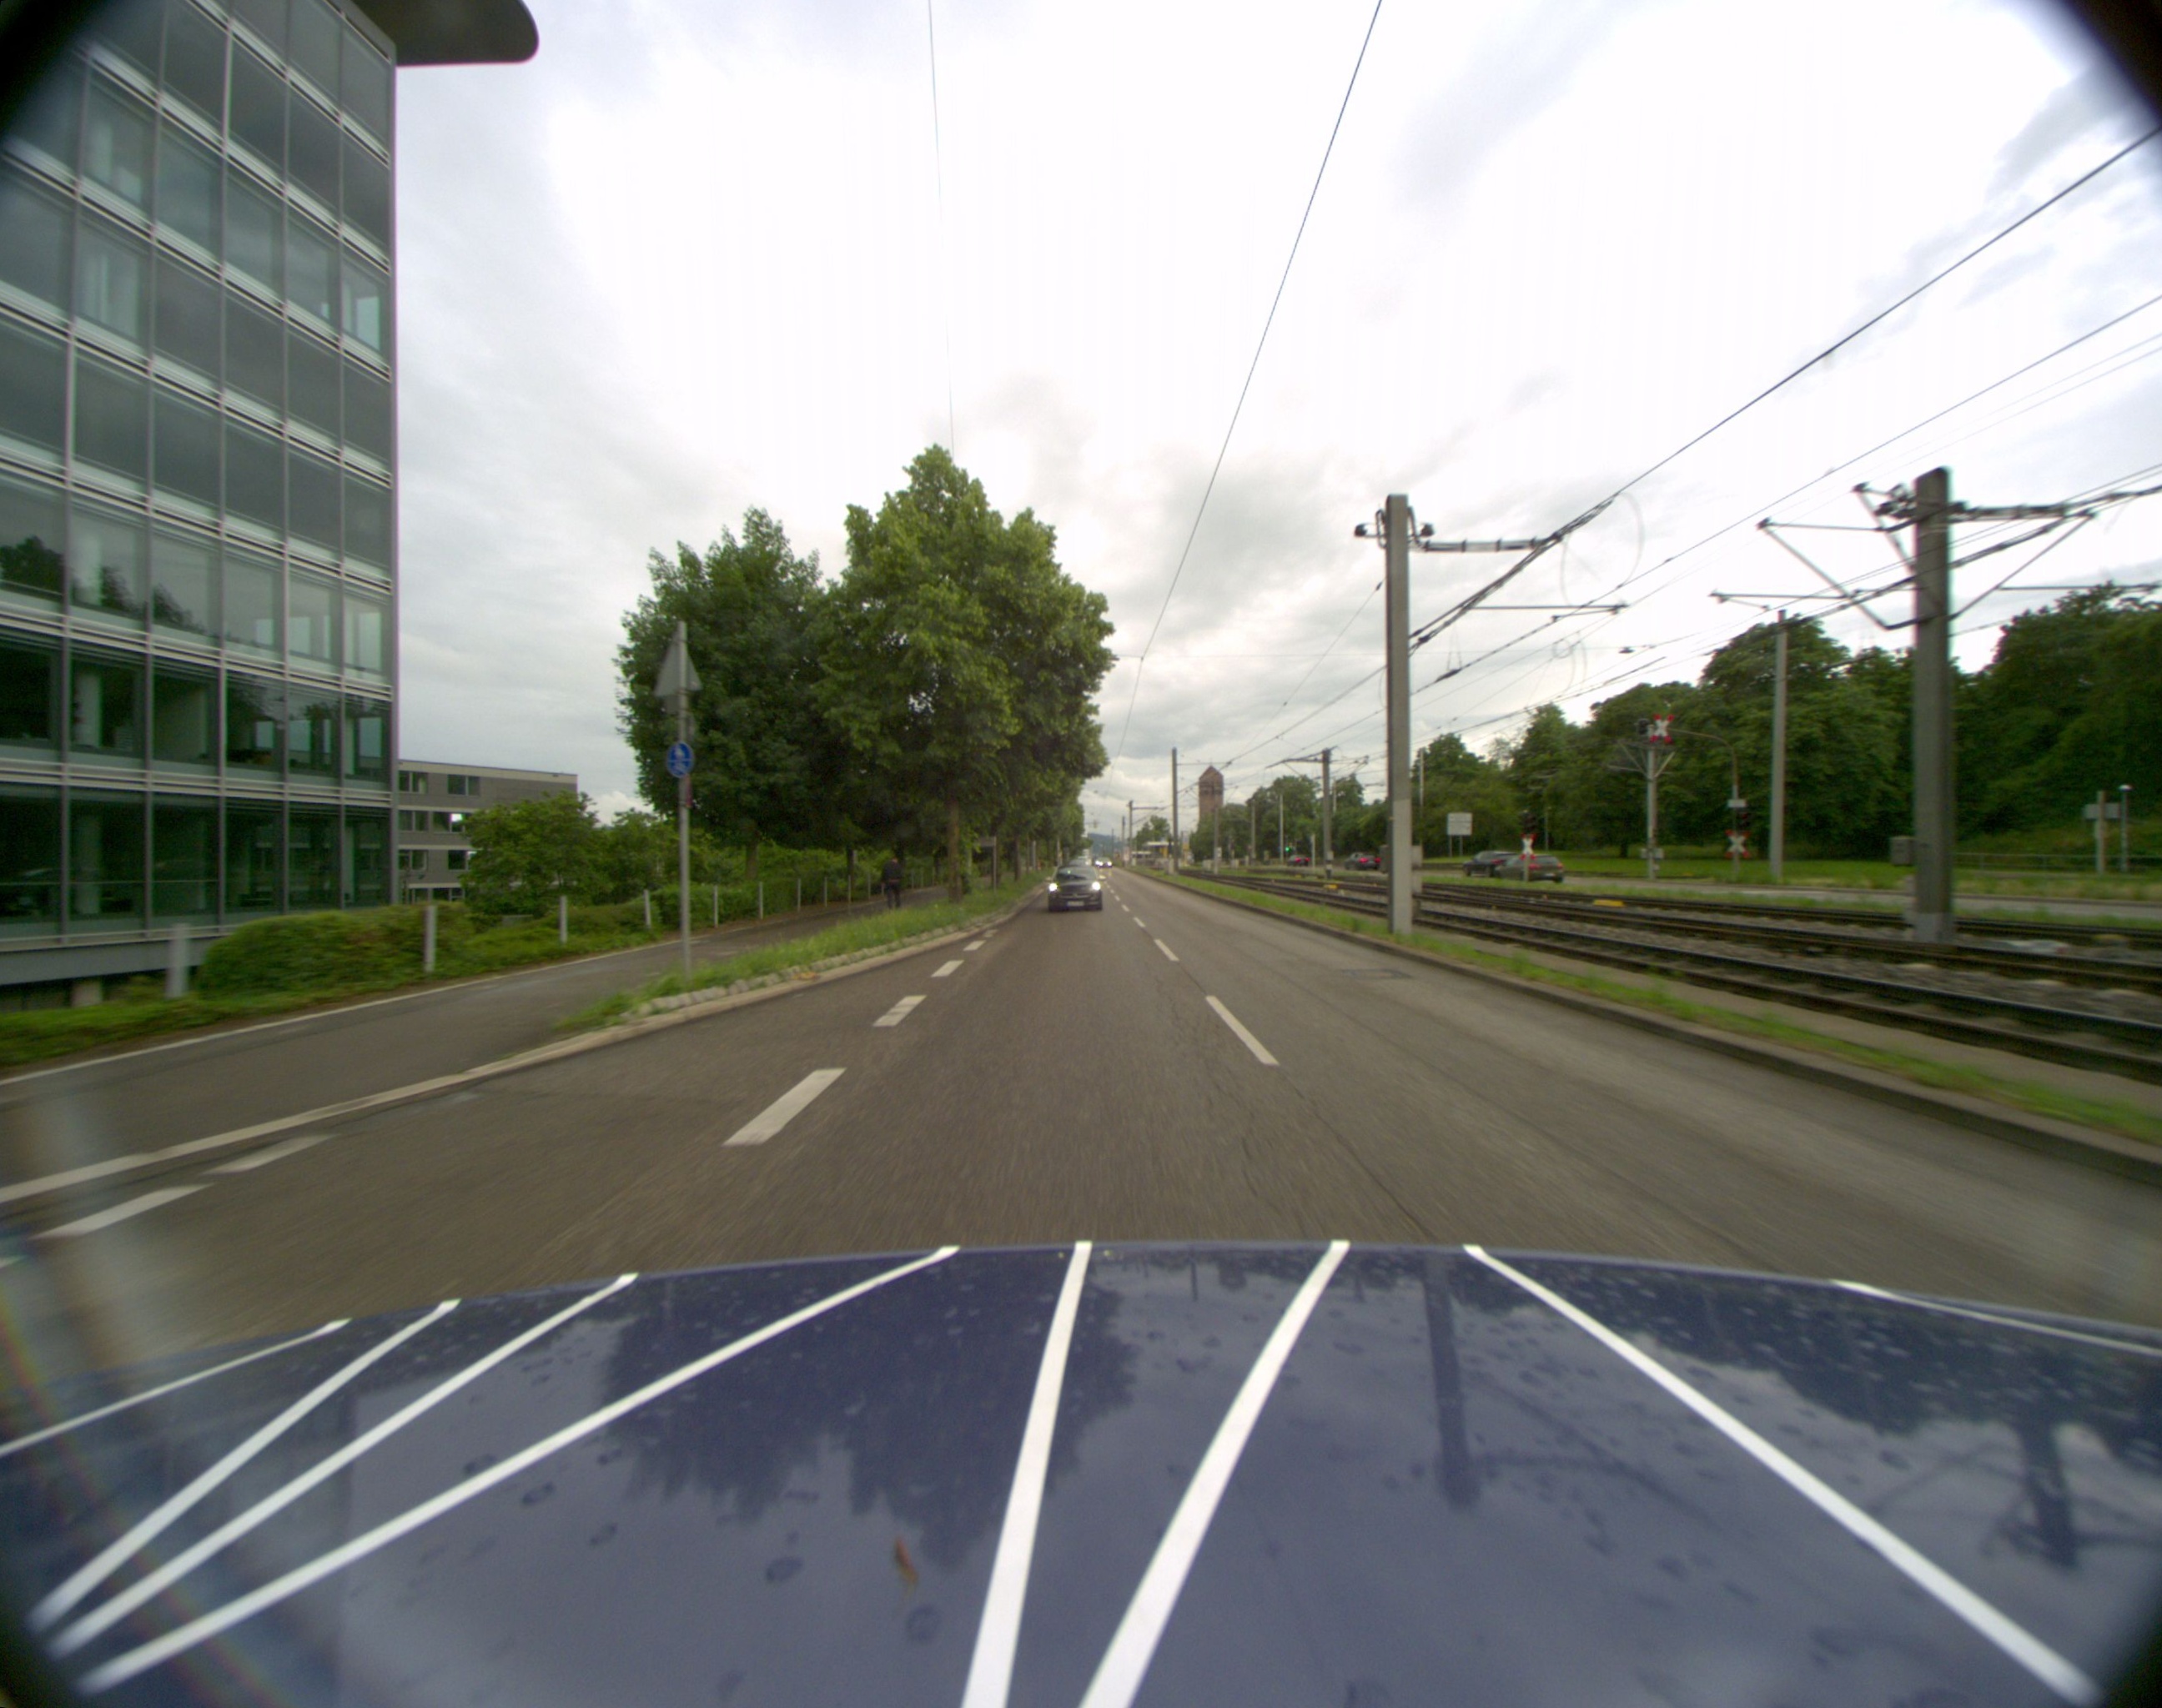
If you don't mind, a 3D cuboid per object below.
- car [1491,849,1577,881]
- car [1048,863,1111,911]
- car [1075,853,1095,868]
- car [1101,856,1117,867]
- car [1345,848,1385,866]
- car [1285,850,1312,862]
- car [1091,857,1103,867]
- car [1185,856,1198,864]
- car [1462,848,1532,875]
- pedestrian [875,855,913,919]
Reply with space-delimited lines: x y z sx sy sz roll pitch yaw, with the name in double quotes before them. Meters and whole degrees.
"car" 22.416 0.522 37.841 1.895 1.477 4.309 0 0 3
"car" -0.020 1.036 25.223 1.899 1.432 4.474 -1 -1 1
"car" 0.440 0.685 81.697 1.998 1.608 4.000 -1 0 0
"car" 3.741 0.976 101.842 1.899 1.432 4.246 -1 -1 1
"car" 26.818 0.290 71.953 2.094 1.579 5.159 0 0 2
"car" 26.761 0.277 93.648 1.932 1.438 4.682 0 0 1
"car" 2.537 1.233 119.600 1.812 1.566 3.971 -2 0 0
"car" 24.539 1.369 168.431 2.088 1.728 4.862 0 0 0
"car" 25.931 0.438 47.551 1.952 1.586 4.848 0 0 3
"pedestrian" -5.483 0.952 22.279 0.828 1.787 0.867 -2 1 1
